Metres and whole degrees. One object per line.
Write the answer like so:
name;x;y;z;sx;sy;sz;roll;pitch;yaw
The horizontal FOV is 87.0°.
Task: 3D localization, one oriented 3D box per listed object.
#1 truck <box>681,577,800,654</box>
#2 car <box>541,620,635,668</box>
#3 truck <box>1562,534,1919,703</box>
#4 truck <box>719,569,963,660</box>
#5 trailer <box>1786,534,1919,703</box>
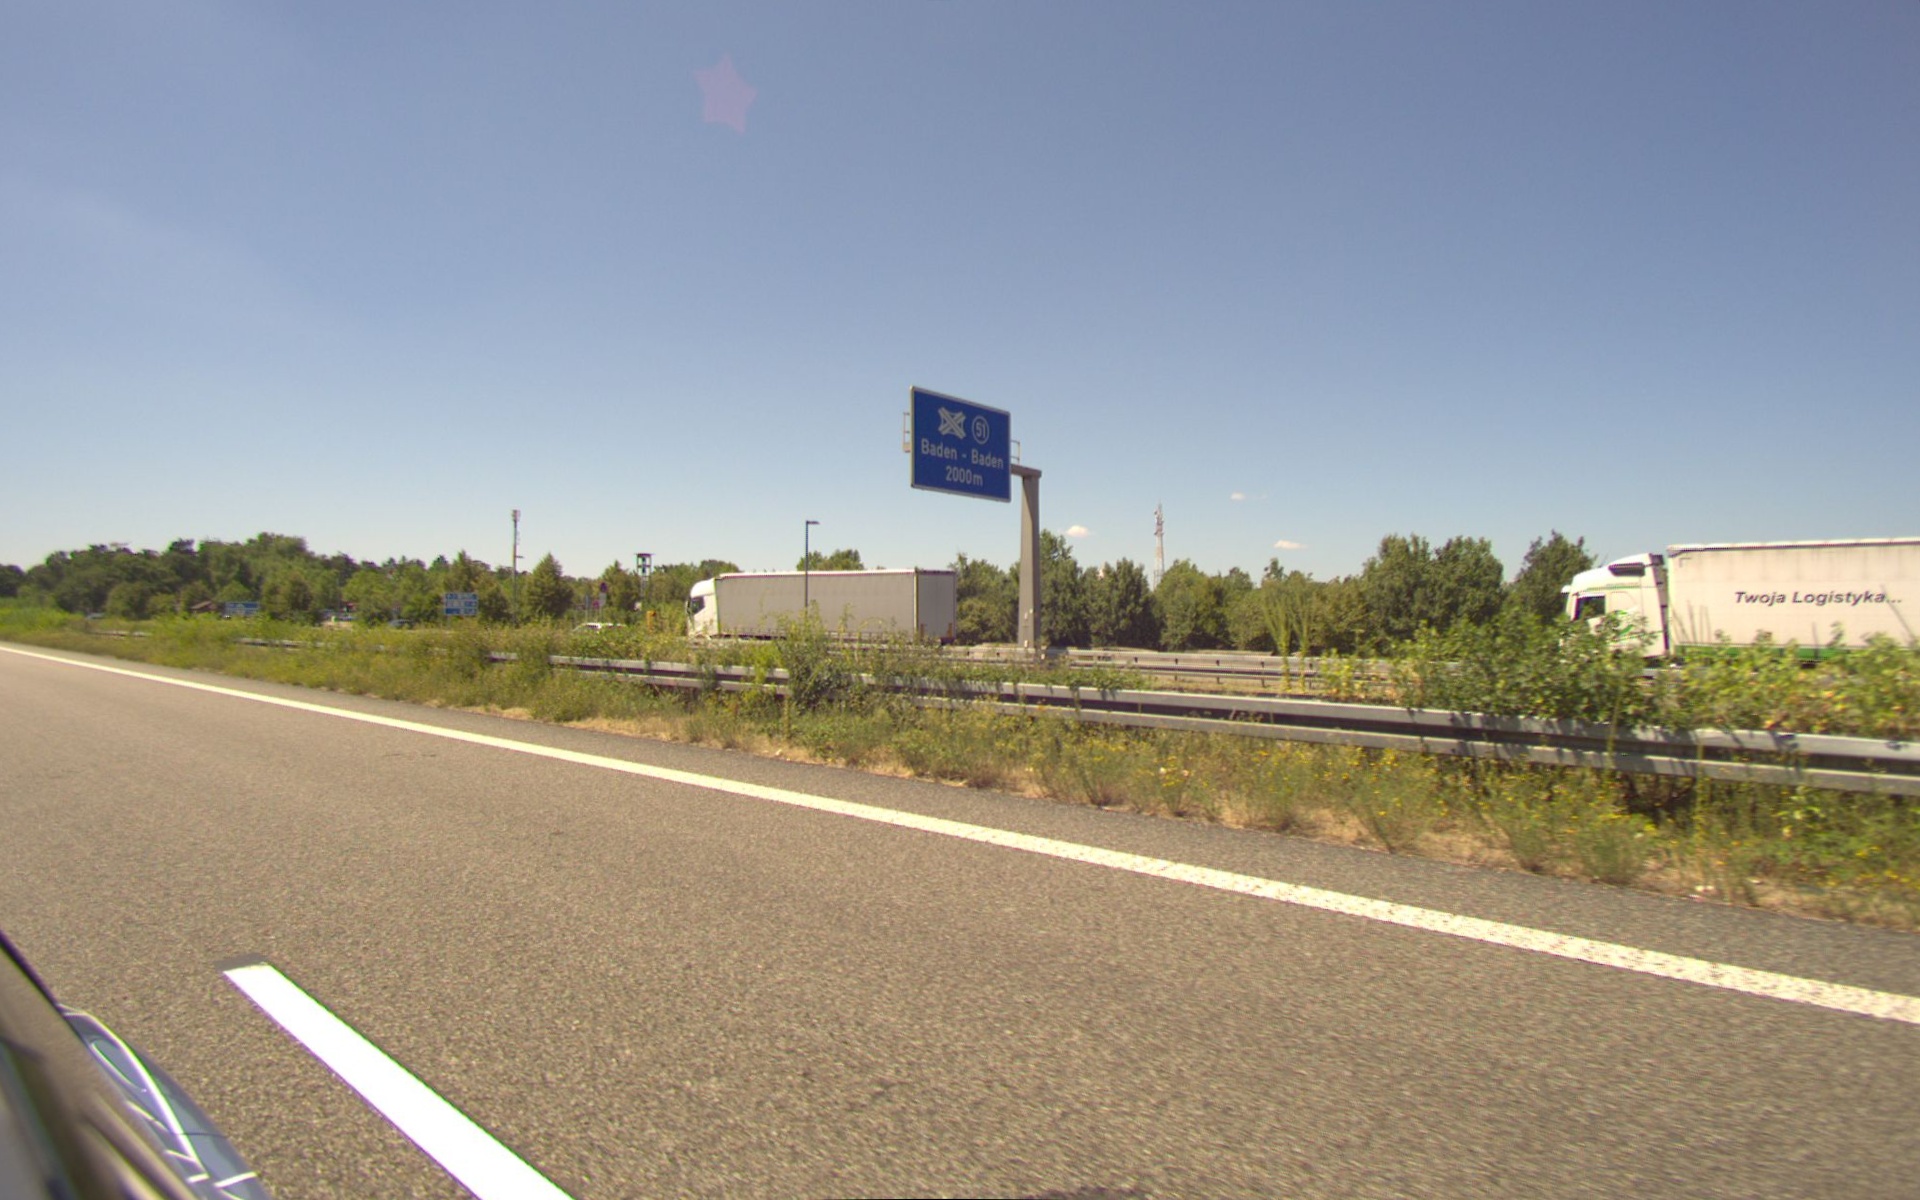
truck;-11.170;0.737;51.196;6.144;3.670;2.770;-1;0;41
car;-14.992;1.709;40.639;4.406;1.760;1.633;-1;0;41
truck;22.024;0.470;28.483;8.312;4.183;3.063;-1;0;41
truck;-5.875;0.650;46.506;13.600;3.670;2.770;-1;0;41
trailer;27.280;0.396;23.837;12.005;4.187;3.062;-1;0;41
